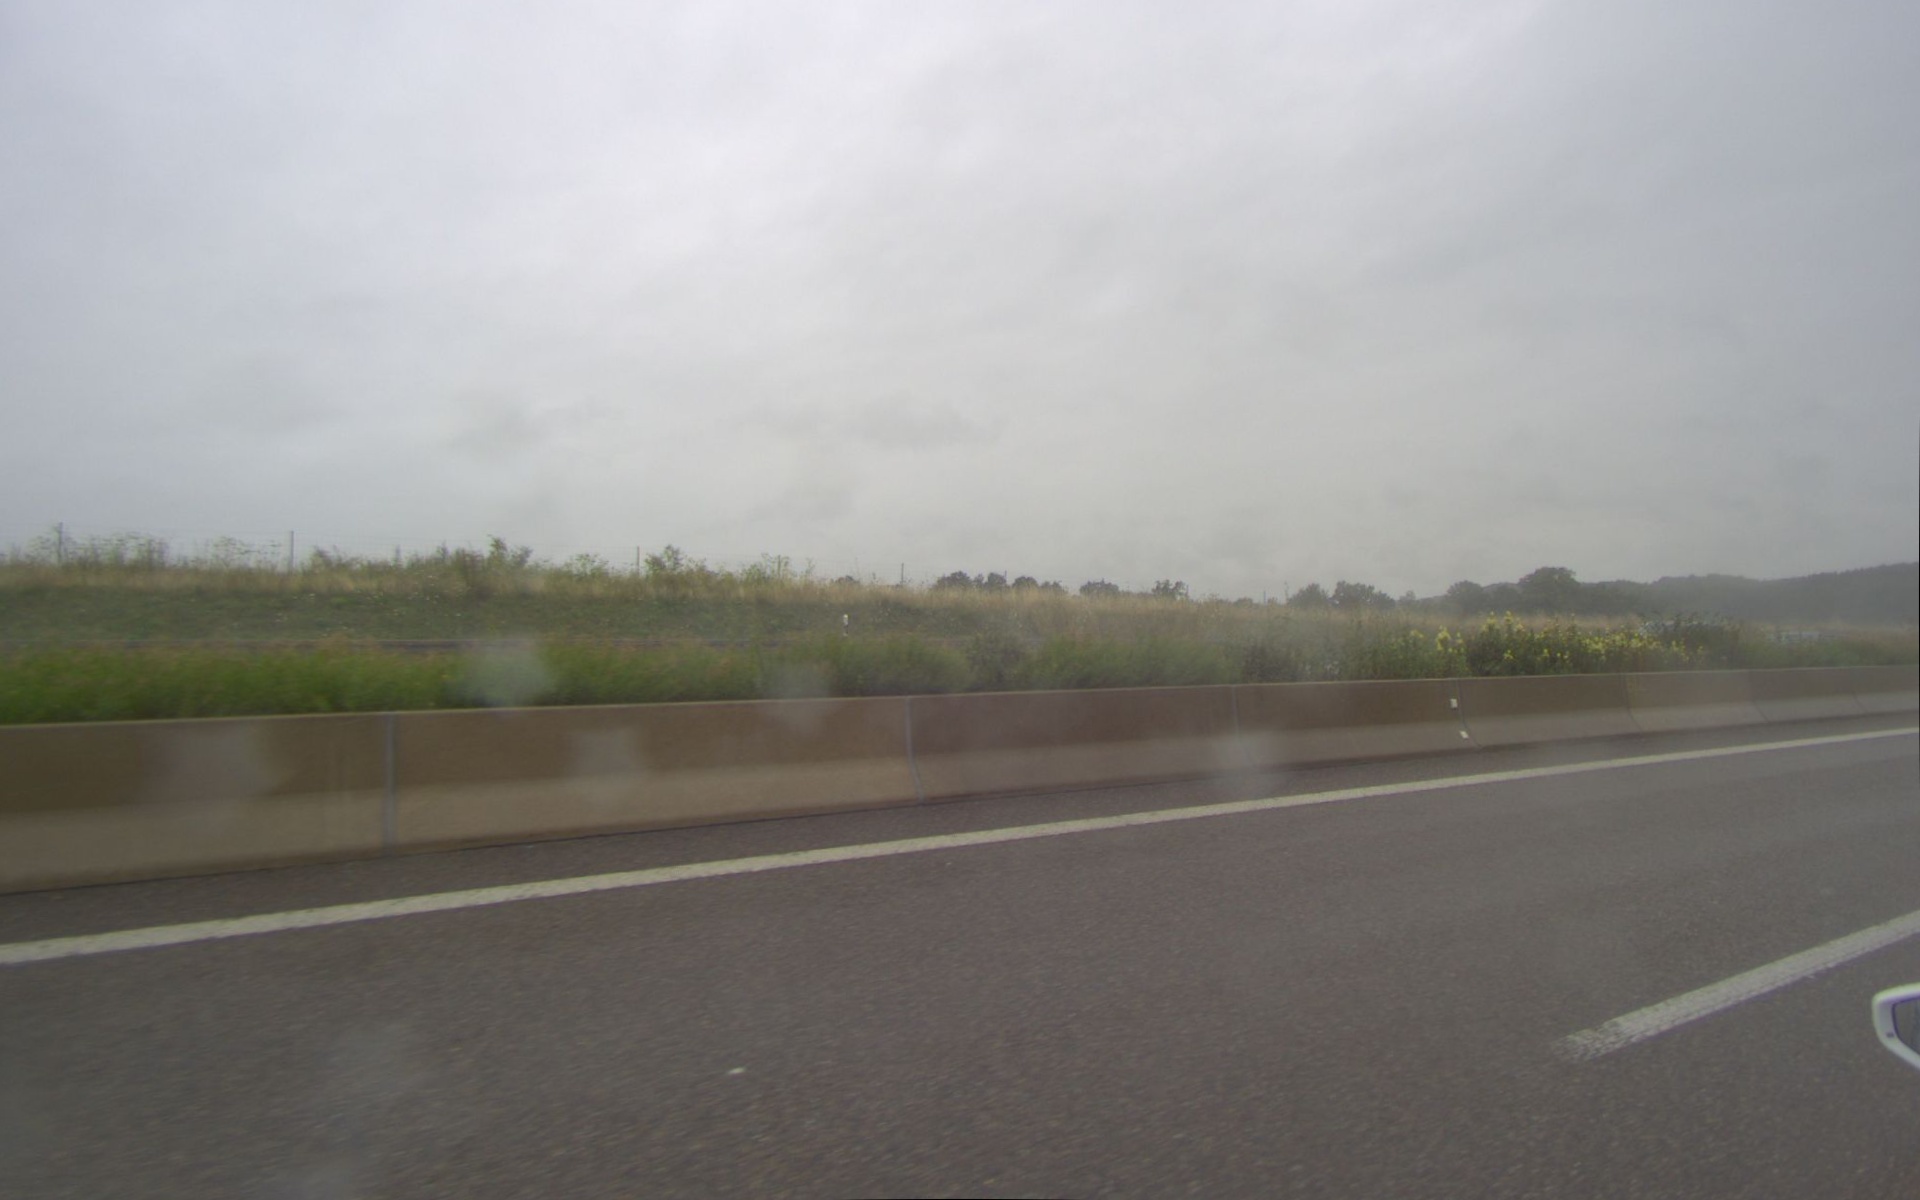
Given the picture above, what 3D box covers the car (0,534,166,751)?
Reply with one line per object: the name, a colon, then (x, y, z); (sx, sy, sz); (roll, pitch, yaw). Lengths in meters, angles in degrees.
car: (-8.805, 0.331, 8.291); (3.315, 1.745, 1.480); (1, -1, -31)
